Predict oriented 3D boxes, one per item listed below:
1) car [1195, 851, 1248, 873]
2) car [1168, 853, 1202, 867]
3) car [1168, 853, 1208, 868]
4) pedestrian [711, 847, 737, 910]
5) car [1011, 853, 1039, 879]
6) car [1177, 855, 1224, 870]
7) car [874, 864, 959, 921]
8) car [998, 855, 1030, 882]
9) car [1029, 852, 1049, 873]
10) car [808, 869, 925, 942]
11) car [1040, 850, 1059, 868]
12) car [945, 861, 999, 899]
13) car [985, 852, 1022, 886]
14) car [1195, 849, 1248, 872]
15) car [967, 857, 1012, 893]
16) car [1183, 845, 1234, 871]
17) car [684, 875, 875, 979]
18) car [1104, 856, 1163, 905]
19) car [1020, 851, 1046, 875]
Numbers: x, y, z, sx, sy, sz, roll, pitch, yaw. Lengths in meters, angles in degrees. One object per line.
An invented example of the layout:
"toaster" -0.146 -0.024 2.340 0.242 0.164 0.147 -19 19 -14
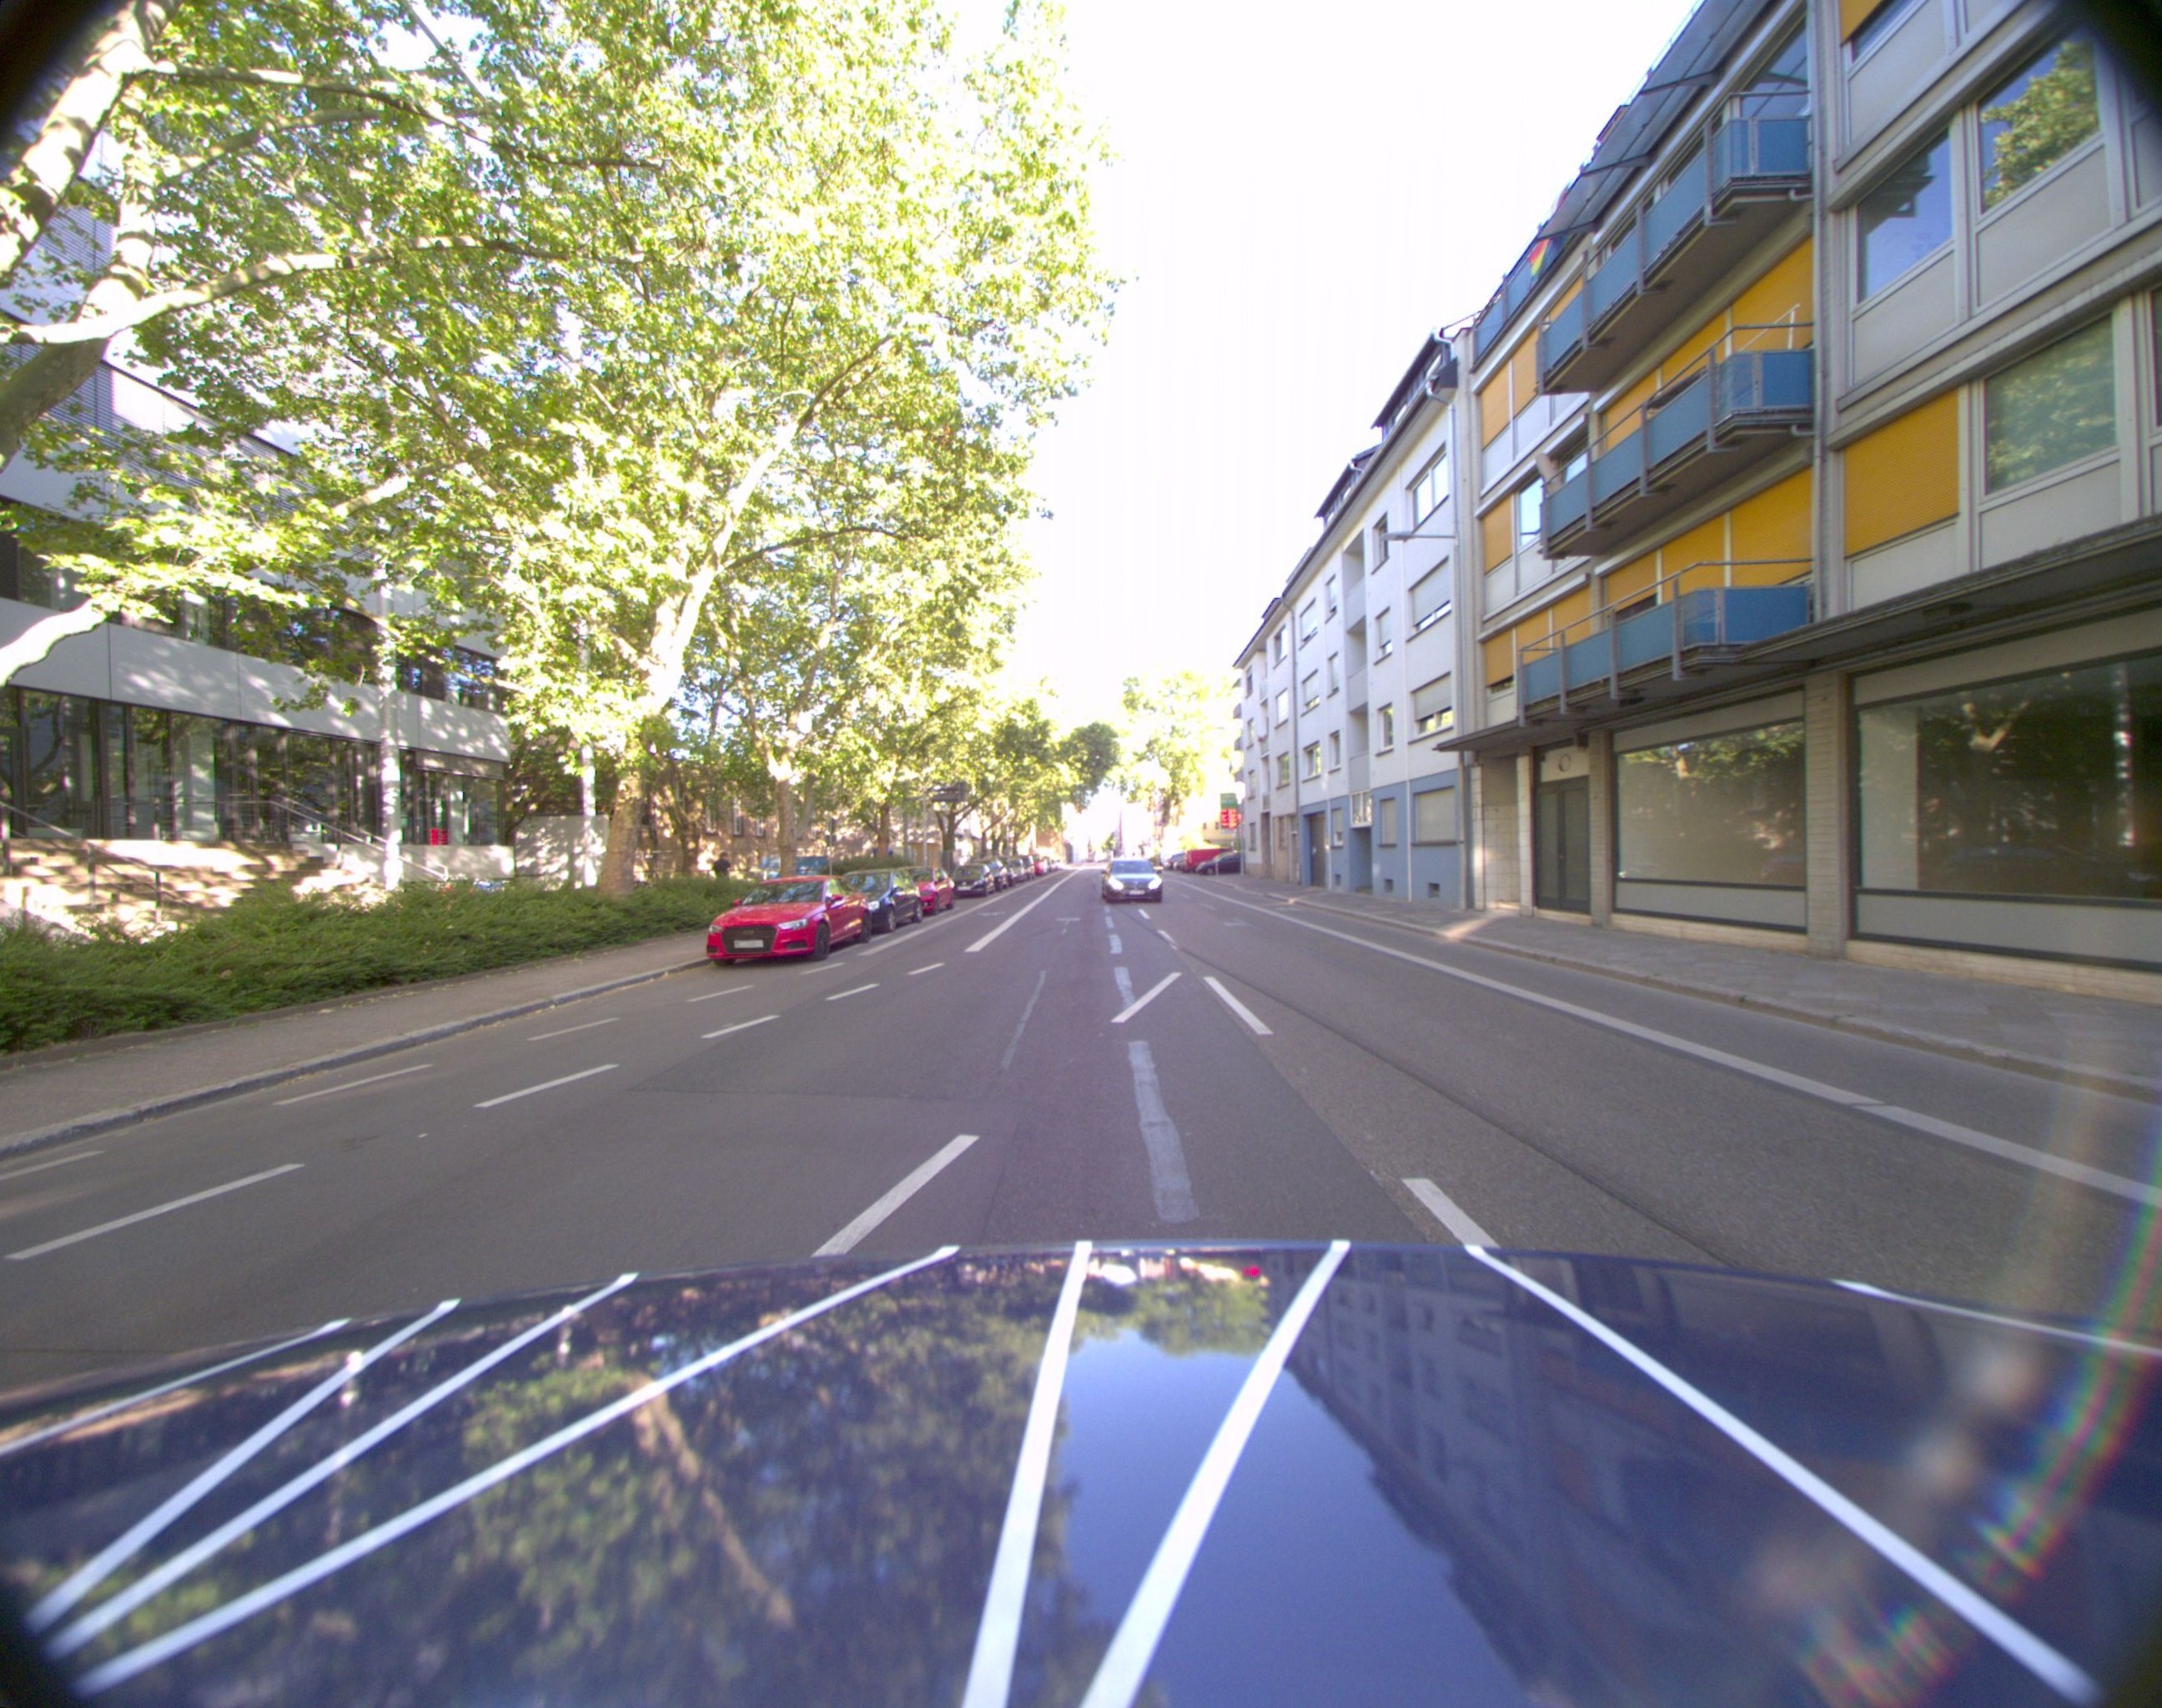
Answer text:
"car" 10.084 0.581 54.738 3.508 1.380 1.490 -2 1 2
"car" 10.314 0.572 75.475 3.271 1.238 1.345 -2 1 2
"car" 10.259 0.617 73.038 3.687 1.238 1.345 -2 1 2
"pedestrian" -11.742 0.794 24.989 0.552 2.002 0.562 -2 1 -11
"car" -4.045 0.810 55.247 1.634 1.725 3.769 -2 1 0
"car" 9.804 0.684 62.597 3.687 1.122 1.345 -2 1 2
"car" -5.017 1.129 23.692 1.692 1.441 3.923 -2 1 1
"car" -4.360 0.935 50.119 1.634 1.604 4.576 -2 1 0
"car" -3.911 0.800 71.010 1.599 1.835 3.769 -2 1 0
"car" -5.054 1.159 18.418 1.669 1.410 3.697 -2 1 1
"car" -3.822 0.580 91.967 1.998 2.002 4.000 -2 0 1
"car" -4.698 1.107 33.244 1.692 1.414 3.923 -2 1 0
"car" -4.461 0.849 44.248 1.634 1.781 4.576 -2 1 0
"car" 10.527 0.476 57.106 3.687 1.503 1.490 -2 1 2
"car" -4.524 0.988 38.115 1.634 1.569 4.231 -2 1 0
"car" 10.053 0.311 59.951 3.688 1.897 1.490 -2 -1 -1
"car" -5.165 1.177 13.665 1.794 1.384 3.999 -2 1 0
"car" 1.715 0.853 26.123 1.752 1.423 4.266 -2 0 1
"car" -4.178 0.717 66.099 1.915 1.940 3.769 -2 1 0
